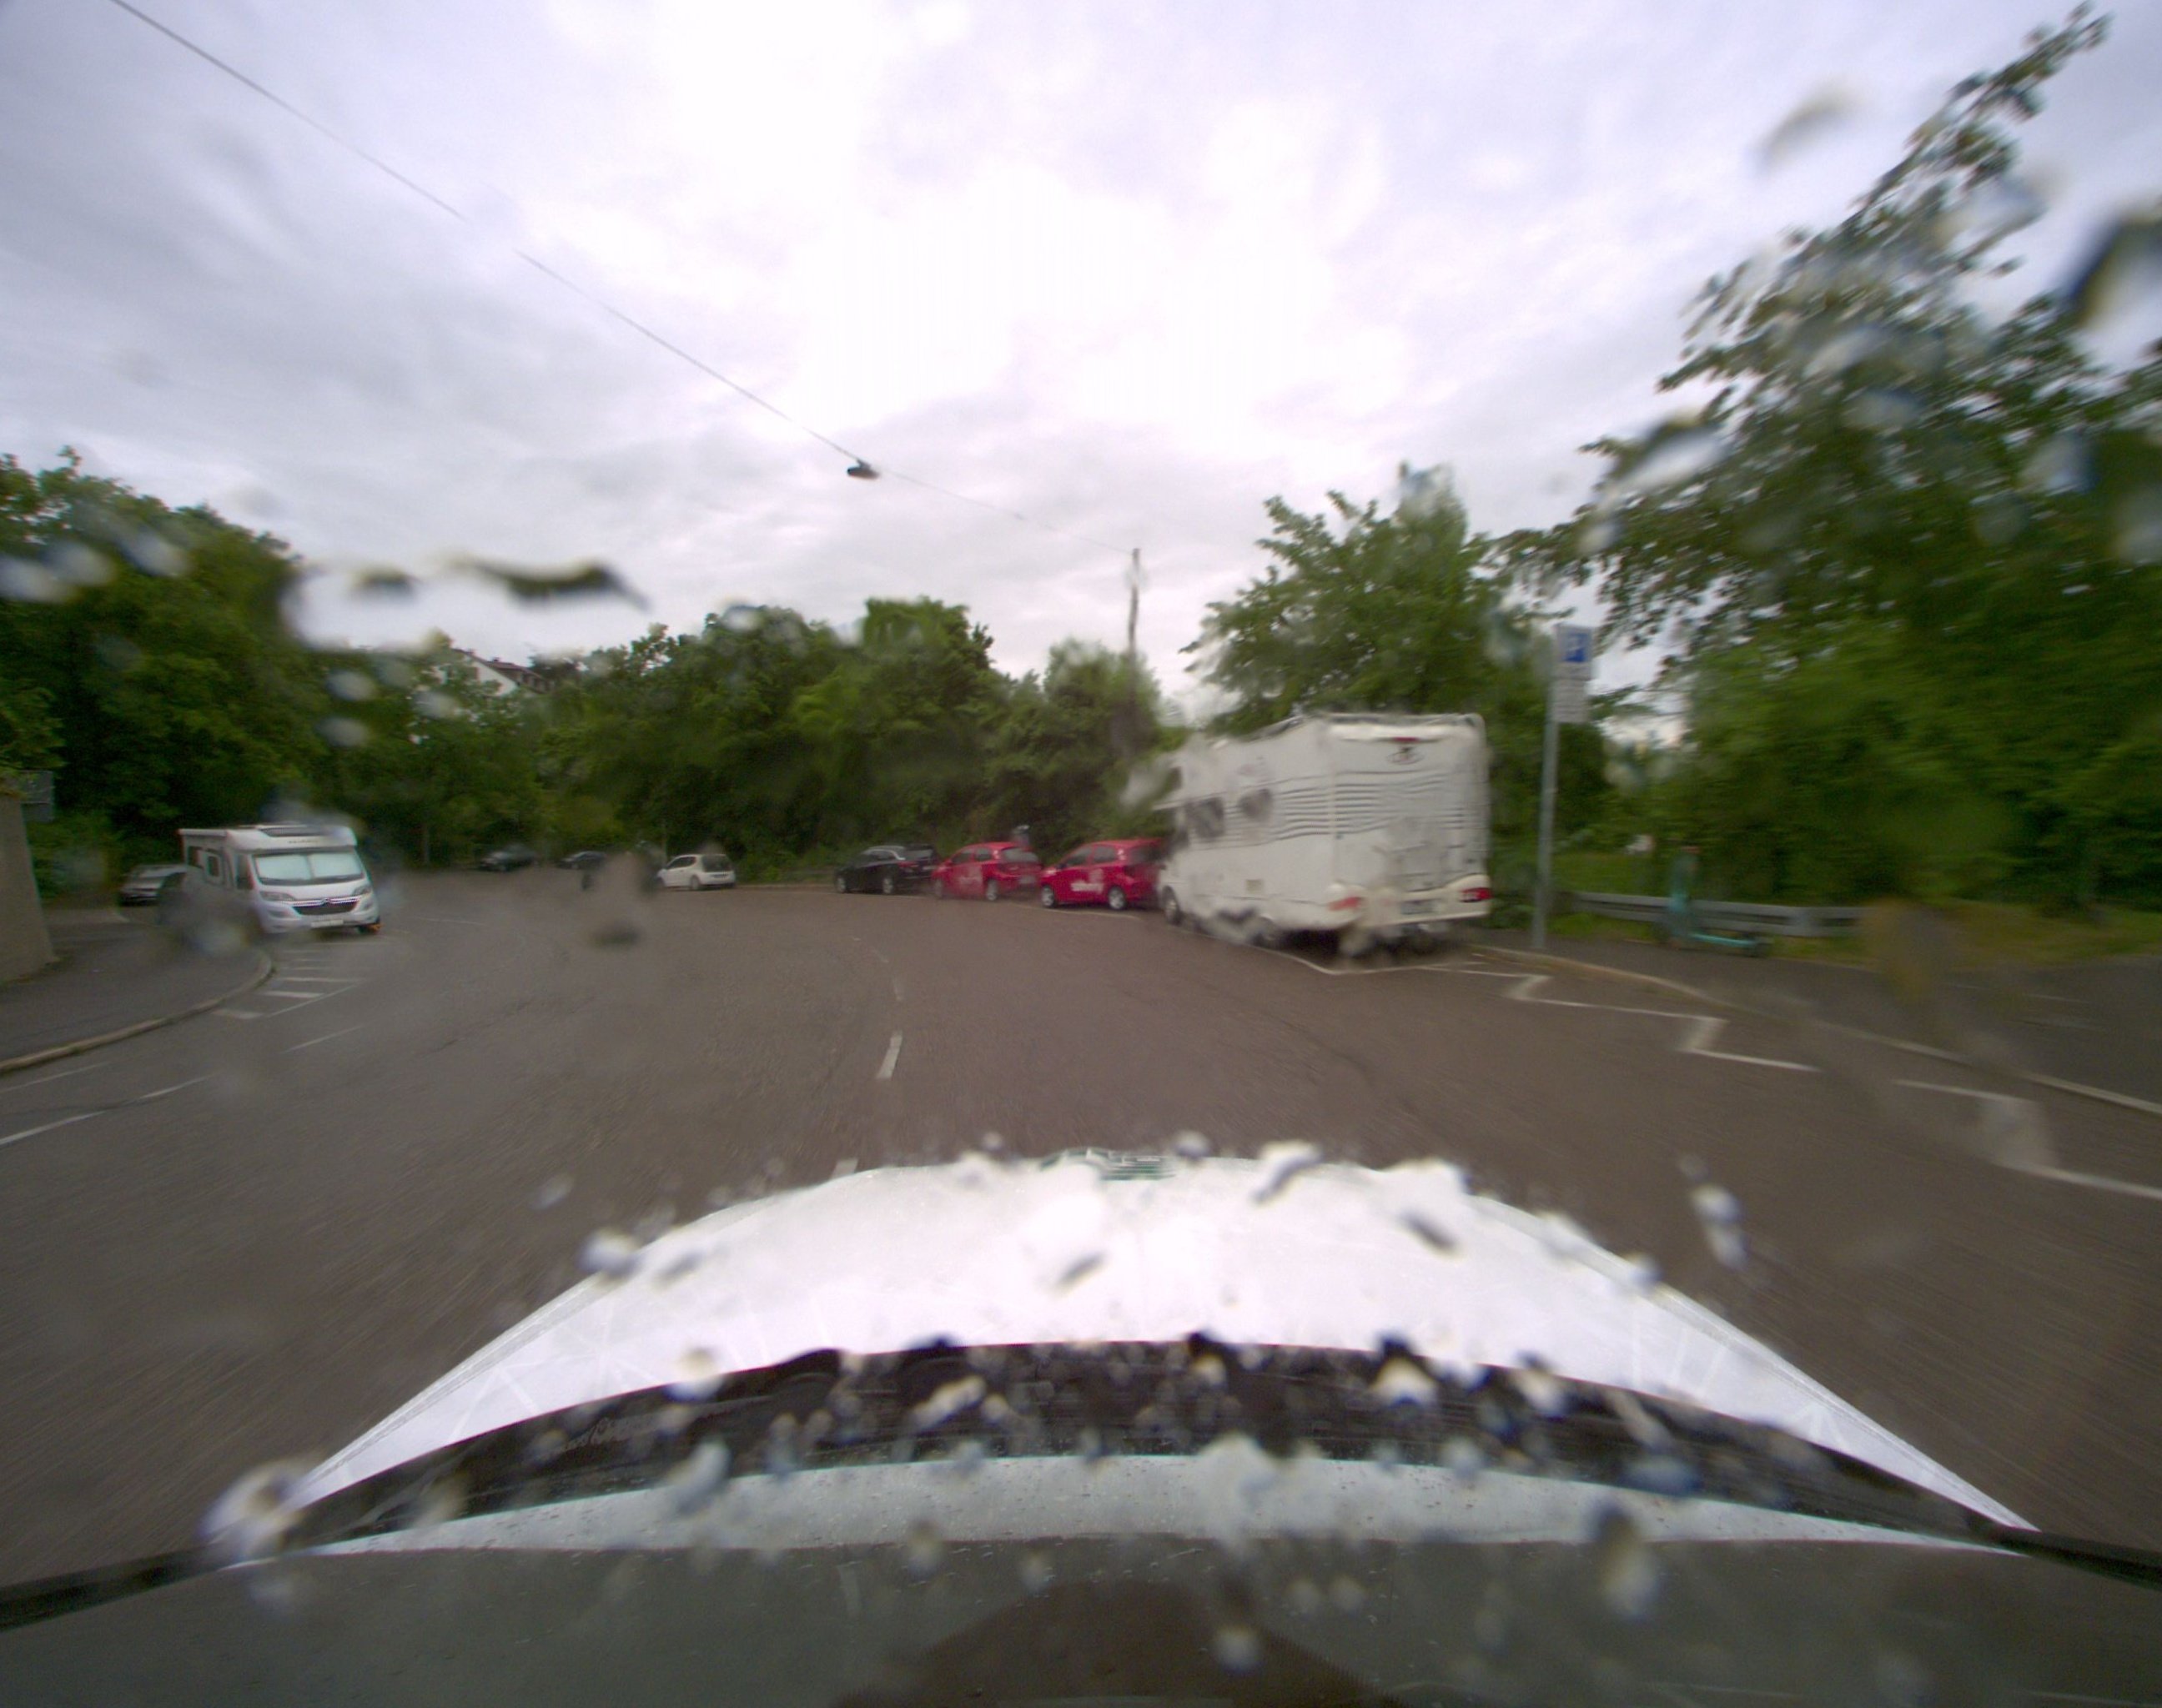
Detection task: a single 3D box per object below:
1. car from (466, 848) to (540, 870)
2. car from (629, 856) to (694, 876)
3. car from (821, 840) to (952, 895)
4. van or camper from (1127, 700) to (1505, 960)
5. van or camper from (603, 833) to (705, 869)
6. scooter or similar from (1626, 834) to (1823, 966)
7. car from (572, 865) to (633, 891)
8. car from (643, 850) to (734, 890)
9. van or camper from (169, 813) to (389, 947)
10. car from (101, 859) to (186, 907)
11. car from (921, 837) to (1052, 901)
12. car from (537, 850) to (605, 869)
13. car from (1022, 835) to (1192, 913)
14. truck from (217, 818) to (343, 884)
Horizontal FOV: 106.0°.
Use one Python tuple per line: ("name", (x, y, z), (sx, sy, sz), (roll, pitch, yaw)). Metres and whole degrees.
("car", (-43.064, 0.343, 60.836), (1.766, 1.465, 4.328), (5, 1, 13))
("car", (-34.752, 0.968, 67.572), (1.781, 1.570, 4.483), (1, 0, 39))
("car", (-6.178, 0.383, 25.576), (4.537, 1.513, 1.734), (-1, 3, 43))
("van or camper", (3.029, -0.367, 12.541), (2.397, 2.943, 6.242), (-3, 2, -18))
("van or camper", (-37.848, -0.241, 72.490), (2.174, 2.931, 7.710), (6, 3, 37))
("scooter or similar", (6.877, 0.452, 8.818), (0.451, 1.282, 1.699), (-1, 0, -18))
("car", (-30.381, 1.486, 51.819), (1.647, 1.465, 4.025), (4, -1, -5))
("car", (-16.015, 0.659, 33.193), (3.620, 1.501, 1.600), (-2, -1, 31))
("van or camper", (-19.815, 0.512, 19.997), (6.959, 2.788, 2.177), (0, 3, 32))
("car", (-34.332, 1.008, 29.923), (1.715, 1.498, 4.473), (0, 1, -45))
("car", (-2.583, 0.358, 21.838), (1.573, 1.513, 3.631), (-4, 3, -43))
("car", (-41.473, 0.459, 66.314), (1.738, 1.356, 4.338), (6, 2, 28))
("car", (0.476, 0.391, 17.962), (1.654, 1.460, 3.763), (-5, 3, -38))
("truck", (-41.469, -0.149, 42.427), (2.040, 3.103, 6.568), (3, -1, -20))
